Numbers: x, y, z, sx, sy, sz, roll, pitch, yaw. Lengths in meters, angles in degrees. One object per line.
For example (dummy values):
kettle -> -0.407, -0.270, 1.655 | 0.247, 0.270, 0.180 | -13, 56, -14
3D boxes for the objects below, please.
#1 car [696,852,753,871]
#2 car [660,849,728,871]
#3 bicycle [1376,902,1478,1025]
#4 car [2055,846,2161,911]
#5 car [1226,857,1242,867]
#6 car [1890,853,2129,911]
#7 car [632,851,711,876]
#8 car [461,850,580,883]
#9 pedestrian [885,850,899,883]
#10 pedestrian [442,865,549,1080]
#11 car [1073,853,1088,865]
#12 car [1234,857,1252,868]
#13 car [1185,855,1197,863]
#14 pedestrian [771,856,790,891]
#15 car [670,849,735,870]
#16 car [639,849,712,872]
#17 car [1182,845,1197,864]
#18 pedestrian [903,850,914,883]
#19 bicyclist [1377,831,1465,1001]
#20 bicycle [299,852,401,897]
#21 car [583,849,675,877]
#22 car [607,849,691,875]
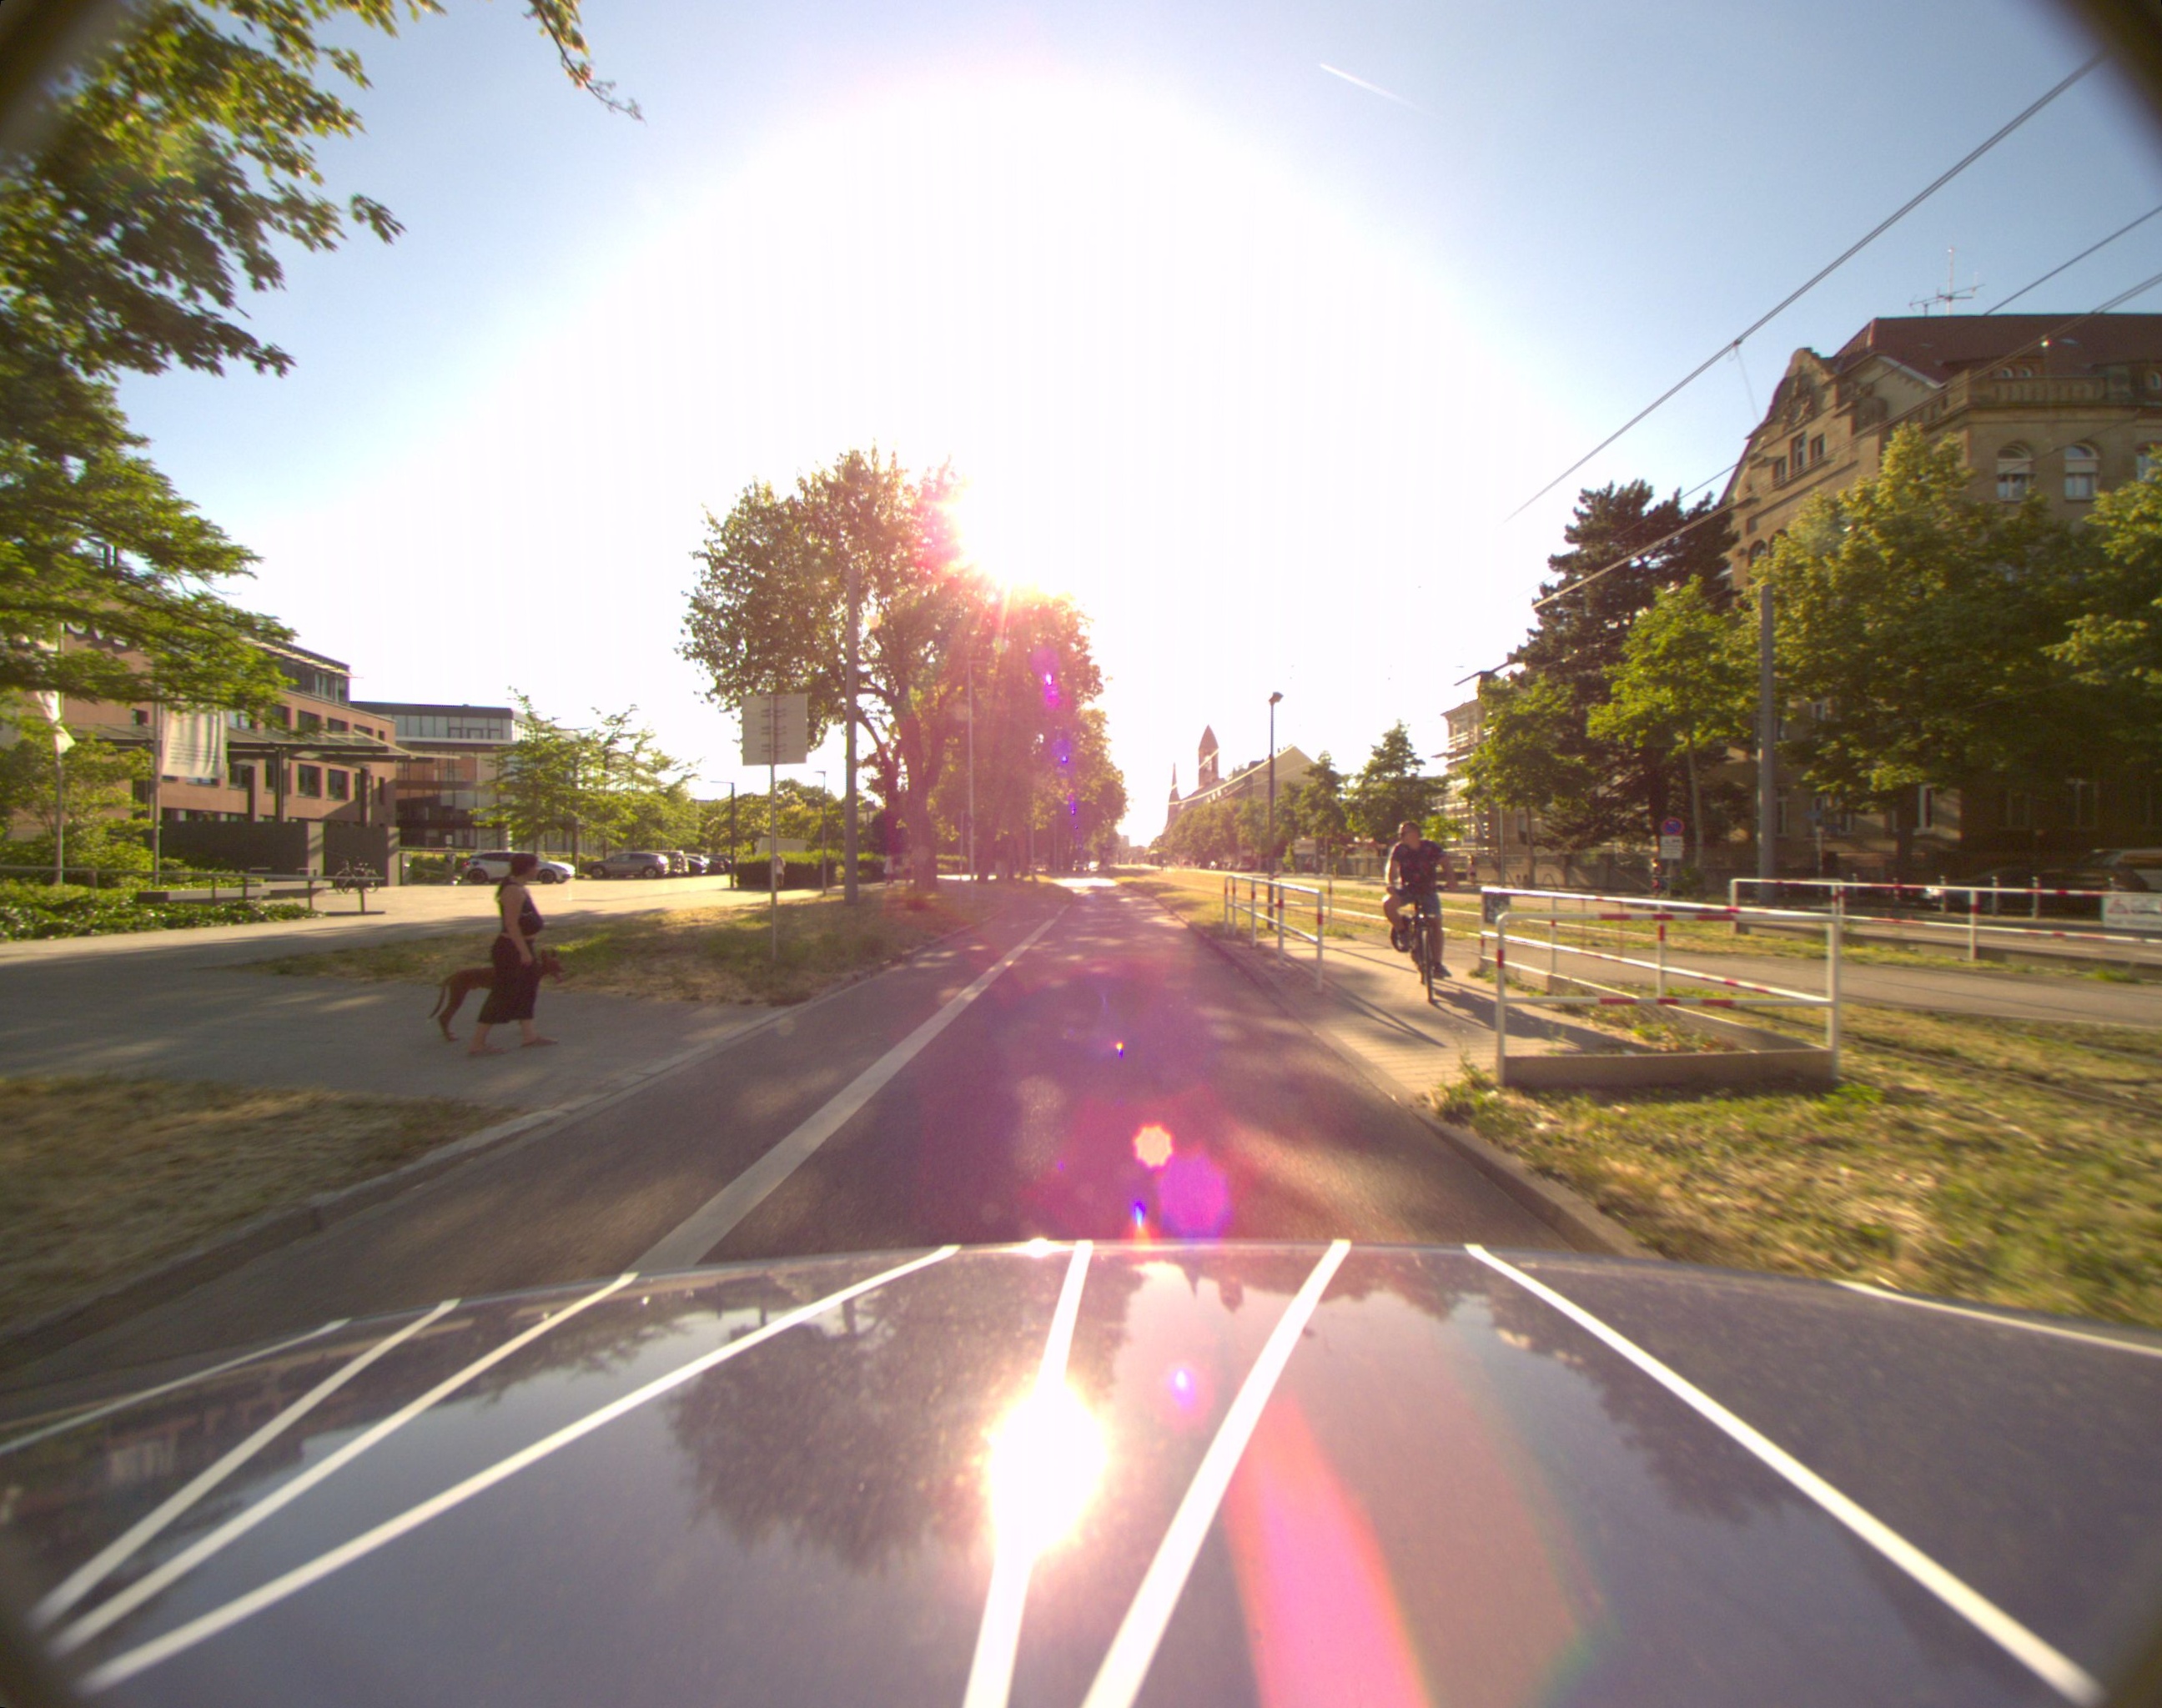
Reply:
car -> -31.275, 0.691, 66.785 | 4.393, 1.616, 1.797 | 0, 0, -20
car -> -29.260, 0.472, 57.536 | 4.393, 1.616, 1.797 | 0, 0, -20
bicycle -> 3.586, 1.078, 8.032 | 0.720, 0.973, 2.065 | -2, 0, 18
car -> 32.904, 0.688, 22.204 | 5.058, 1.814, 2.026 | -1, 1, 27
car -> 24.993, 1.290, 124.429 | 1.799, 1.501, 4.000 | 0, 0, 1
car -> 26.515, 0.794, 21.905 | 3.990, 1.501, 1.803 | -2, 1, 24
car -> -27.237, 0.599, 50.722 | 4.393, 1.616, 1.797 | 0, 0, -20
car -> -26.449, 0.590, 35.981 | 4.152, 1.501, 1.797 | 0, 0, -16
pedestrian -> -10.447, 0.685, 42.048 | 0.645, 1.830, 0.565 | 0, 1, 1
pedestrian -> -4.747, 0.929, 6.193 | 0.532, 1.653, 0.486 | 2, 0, -20
car -> -0.037, 0.675, 97.798 | 1.798, 1.501, 4.001 | -2, 0, 2
car -> 24.270, 1.253, 113.935 | 1.799, 1.501, 4.000 | 0, 0, 1
car -> 21.490, 1.016, 148.302 | 1.799, 1.501, 4.000 | 0, 0, 1
pedestrian -> -12.309, 0.788, 31.129 | 0.550, 1.433, 0.513 | 0, 0, 0
car -> -29.796, 0.466, 59.909 | 4.393, 1.616, 1.797 | 0, 0, -20
car -> -29.154, 0.462, 54.769 | 4.393, 1.616, 1.797 | 0, 0, -20
car -> 16.216, 0.102, 113.864 | 1.798, 2.766, 4.000 | 0, 0, 2
pedestrian -> -9.554, 0.698, 42.105 | 0.502, 1.830, 0.565 | 0, 1, 1
bicyclist -> 3.579, 0.627, 8.051 | 0.720, 1.704, 0.747 | -2, 0, 18
bicycle -> -23.607, 0.622, 24.628 | 0.746, 1.382, 2.637 | 0, 0, 1
car -> -26.620, 0.516, 44.865 | 4.393, 1.616, 1.797 | 0, 0, -20
car -> -27.167, 0.499, 47.928 | 4.393, 1.616, 1.797 | 0, 0, -20
